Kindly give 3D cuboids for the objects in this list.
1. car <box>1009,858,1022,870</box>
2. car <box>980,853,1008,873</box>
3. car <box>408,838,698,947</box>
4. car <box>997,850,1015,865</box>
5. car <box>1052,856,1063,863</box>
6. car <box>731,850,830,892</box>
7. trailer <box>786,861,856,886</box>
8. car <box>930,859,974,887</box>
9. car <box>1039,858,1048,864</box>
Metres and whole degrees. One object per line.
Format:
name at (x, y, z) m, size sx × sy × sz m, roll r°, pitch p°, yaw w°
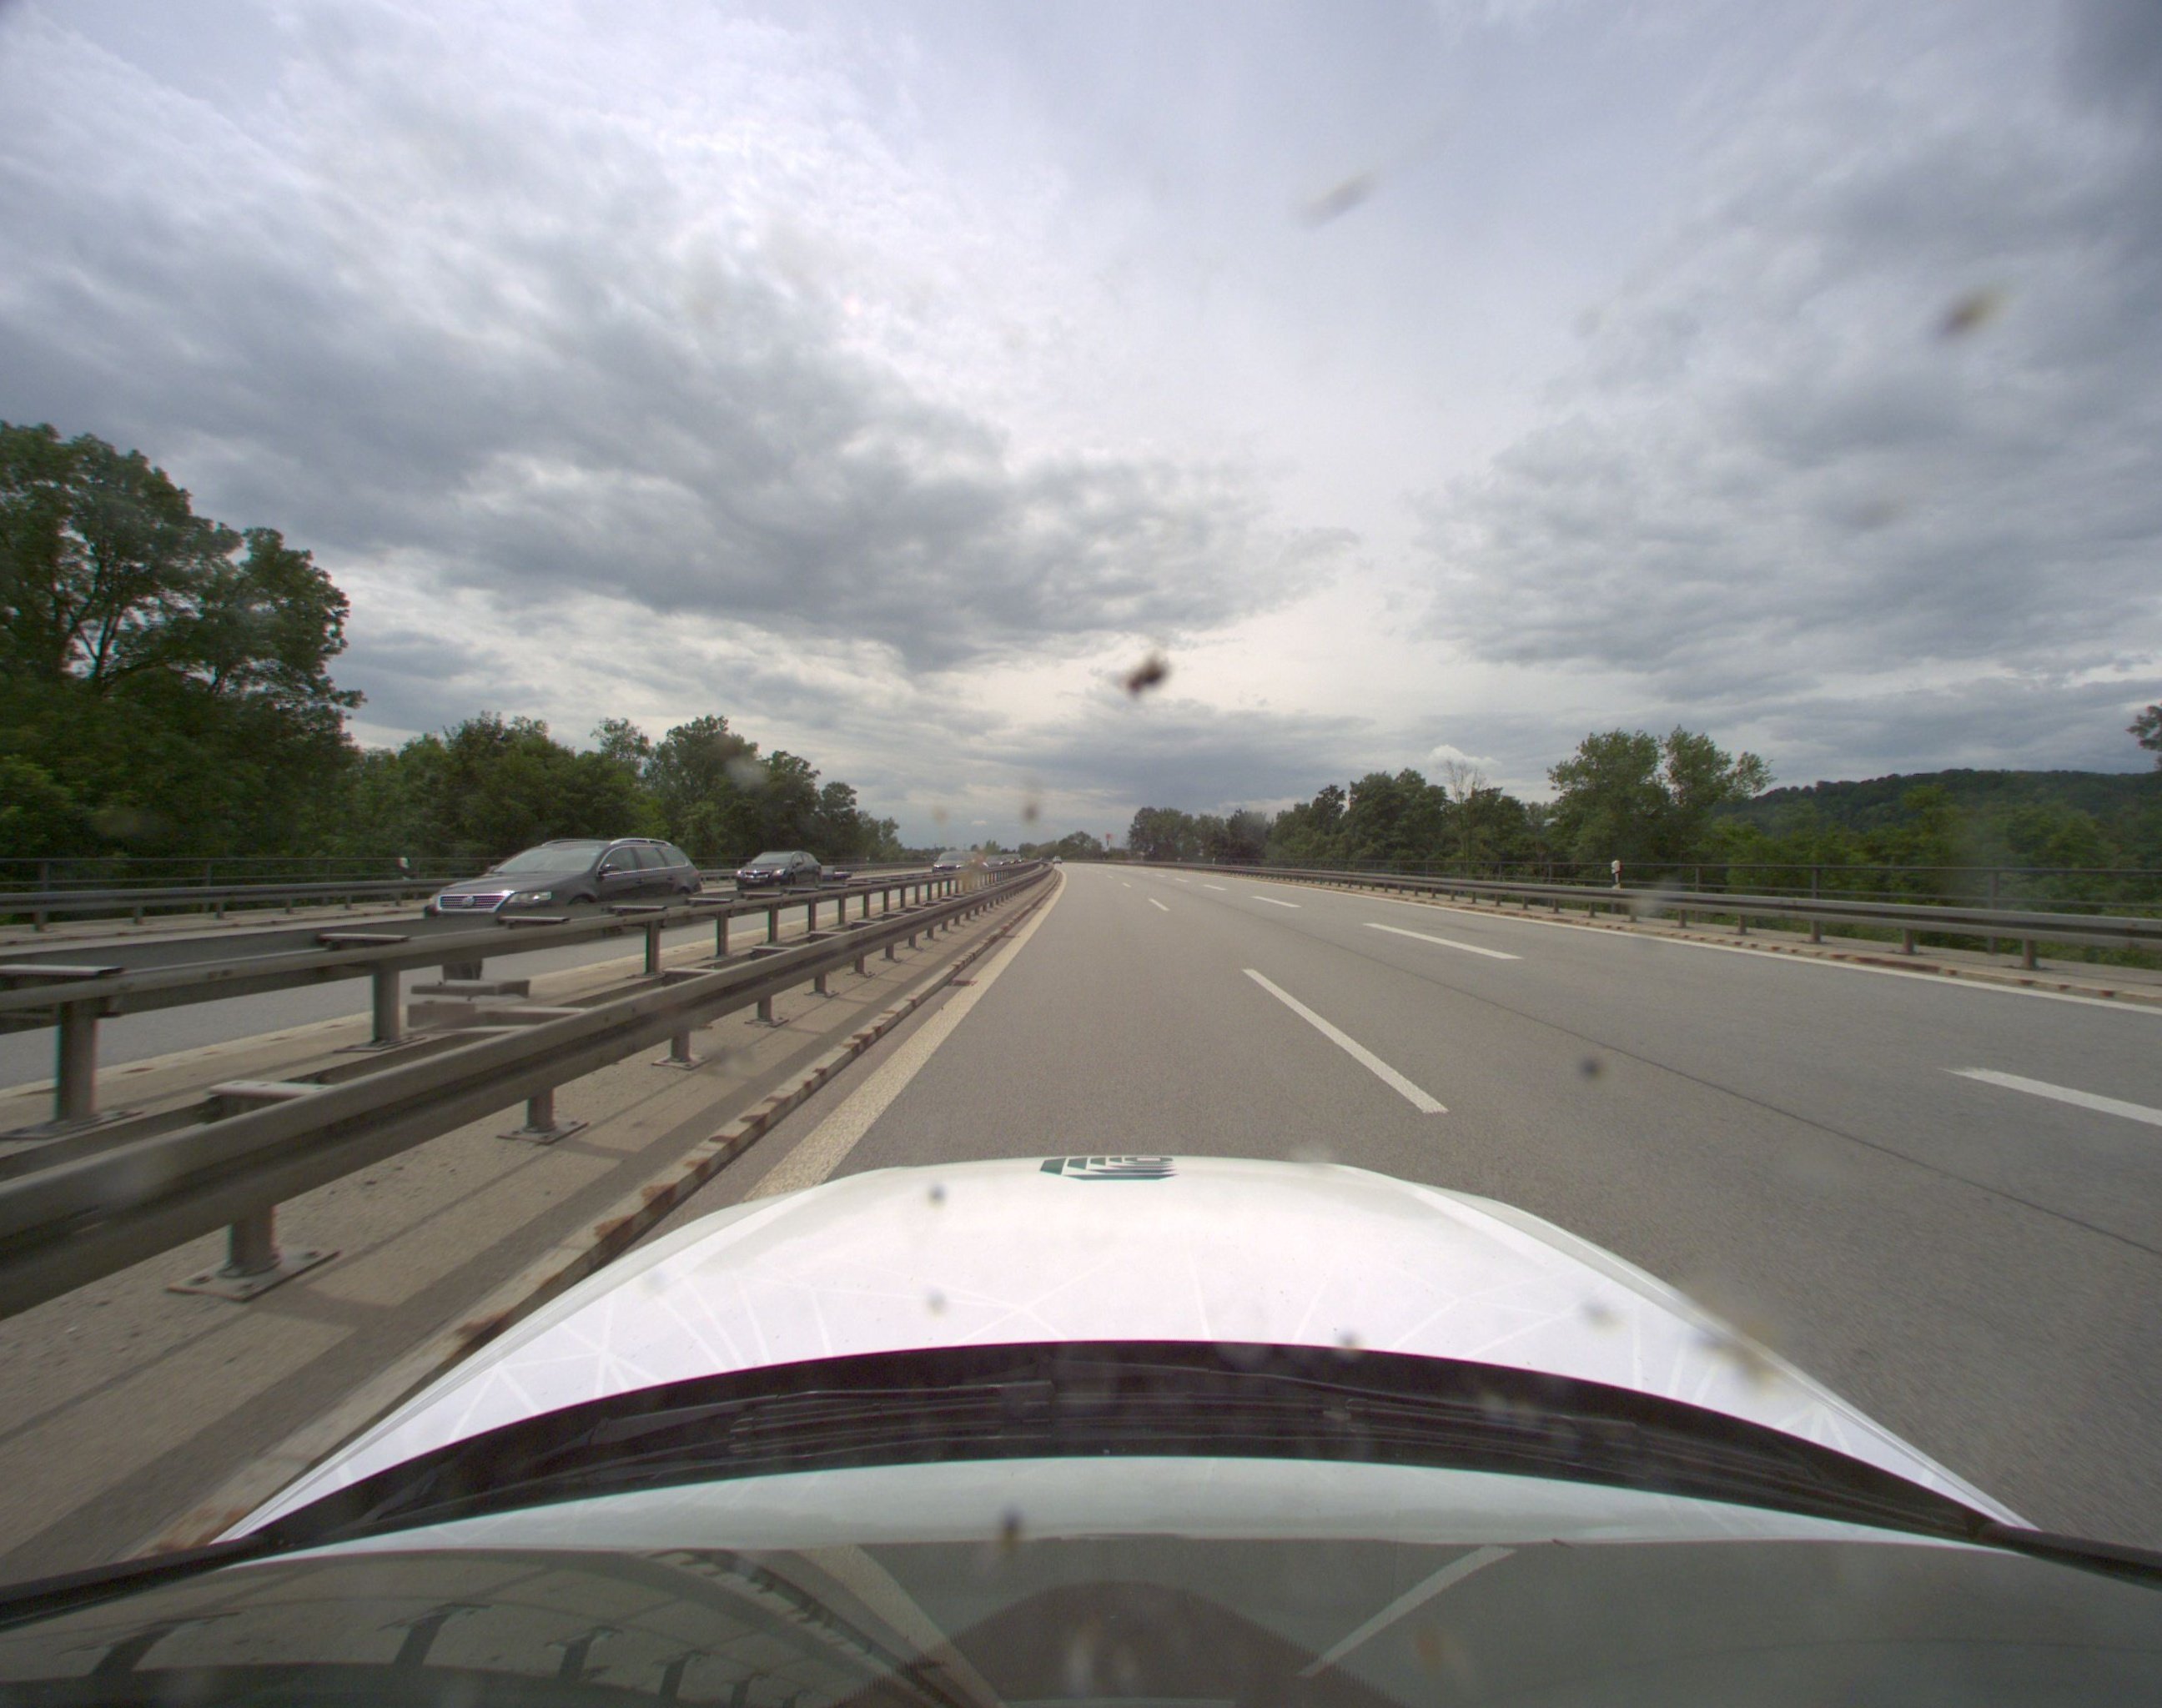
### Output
car at (-9.514, 1.466, 118.673) m, size 1.638 × 1.605 × 4.000 m, roll 0°, pitch 0°, yaw 0°
car at (-6.932, 0.684, 65.104) m, size 1.638 × 1.549 × 4.001 m, roll 1°, pitch 0°, yaw 1°
car at (-7.561, 0.489, 12.240) m, size 1.646 × 1.367 × 4.147 m, roll 0°, pitch 0°, yaw 0°
car at (-8.148, 0.363, 88.754) m, size 1.639 × 1.549 × 3.998 m, roll -1°, pitch -1°, yaw -1°
car at (-5.468, 1.344, 187.550) m, size 1.902 × 1.640 × 4.382 m, roll 0°, pitch 0°, yaw -9°
car at (-10.724, 0.577, 29.482) m, size 1.732 × 1.410 × 4.941 m, roll 0°, pitch 0°, yaw 0°
trailer at (-10.782, 0.792, 34.028) m, size 1.663 × 0.952 × 3.998 m, roll 0°, pitch 0°, yaw -1°
car at (-6.758, 0.965, 43.010) m, size 1.686 × 1.437 × 4.110 m, roll 0°, pitch 0°, yaw 0°
car at (-10.553, 1.876, 230.213) m, size 1.893 × 1.640 × 4.604 m, roll 0°, pitch 0°, yaw -11°
